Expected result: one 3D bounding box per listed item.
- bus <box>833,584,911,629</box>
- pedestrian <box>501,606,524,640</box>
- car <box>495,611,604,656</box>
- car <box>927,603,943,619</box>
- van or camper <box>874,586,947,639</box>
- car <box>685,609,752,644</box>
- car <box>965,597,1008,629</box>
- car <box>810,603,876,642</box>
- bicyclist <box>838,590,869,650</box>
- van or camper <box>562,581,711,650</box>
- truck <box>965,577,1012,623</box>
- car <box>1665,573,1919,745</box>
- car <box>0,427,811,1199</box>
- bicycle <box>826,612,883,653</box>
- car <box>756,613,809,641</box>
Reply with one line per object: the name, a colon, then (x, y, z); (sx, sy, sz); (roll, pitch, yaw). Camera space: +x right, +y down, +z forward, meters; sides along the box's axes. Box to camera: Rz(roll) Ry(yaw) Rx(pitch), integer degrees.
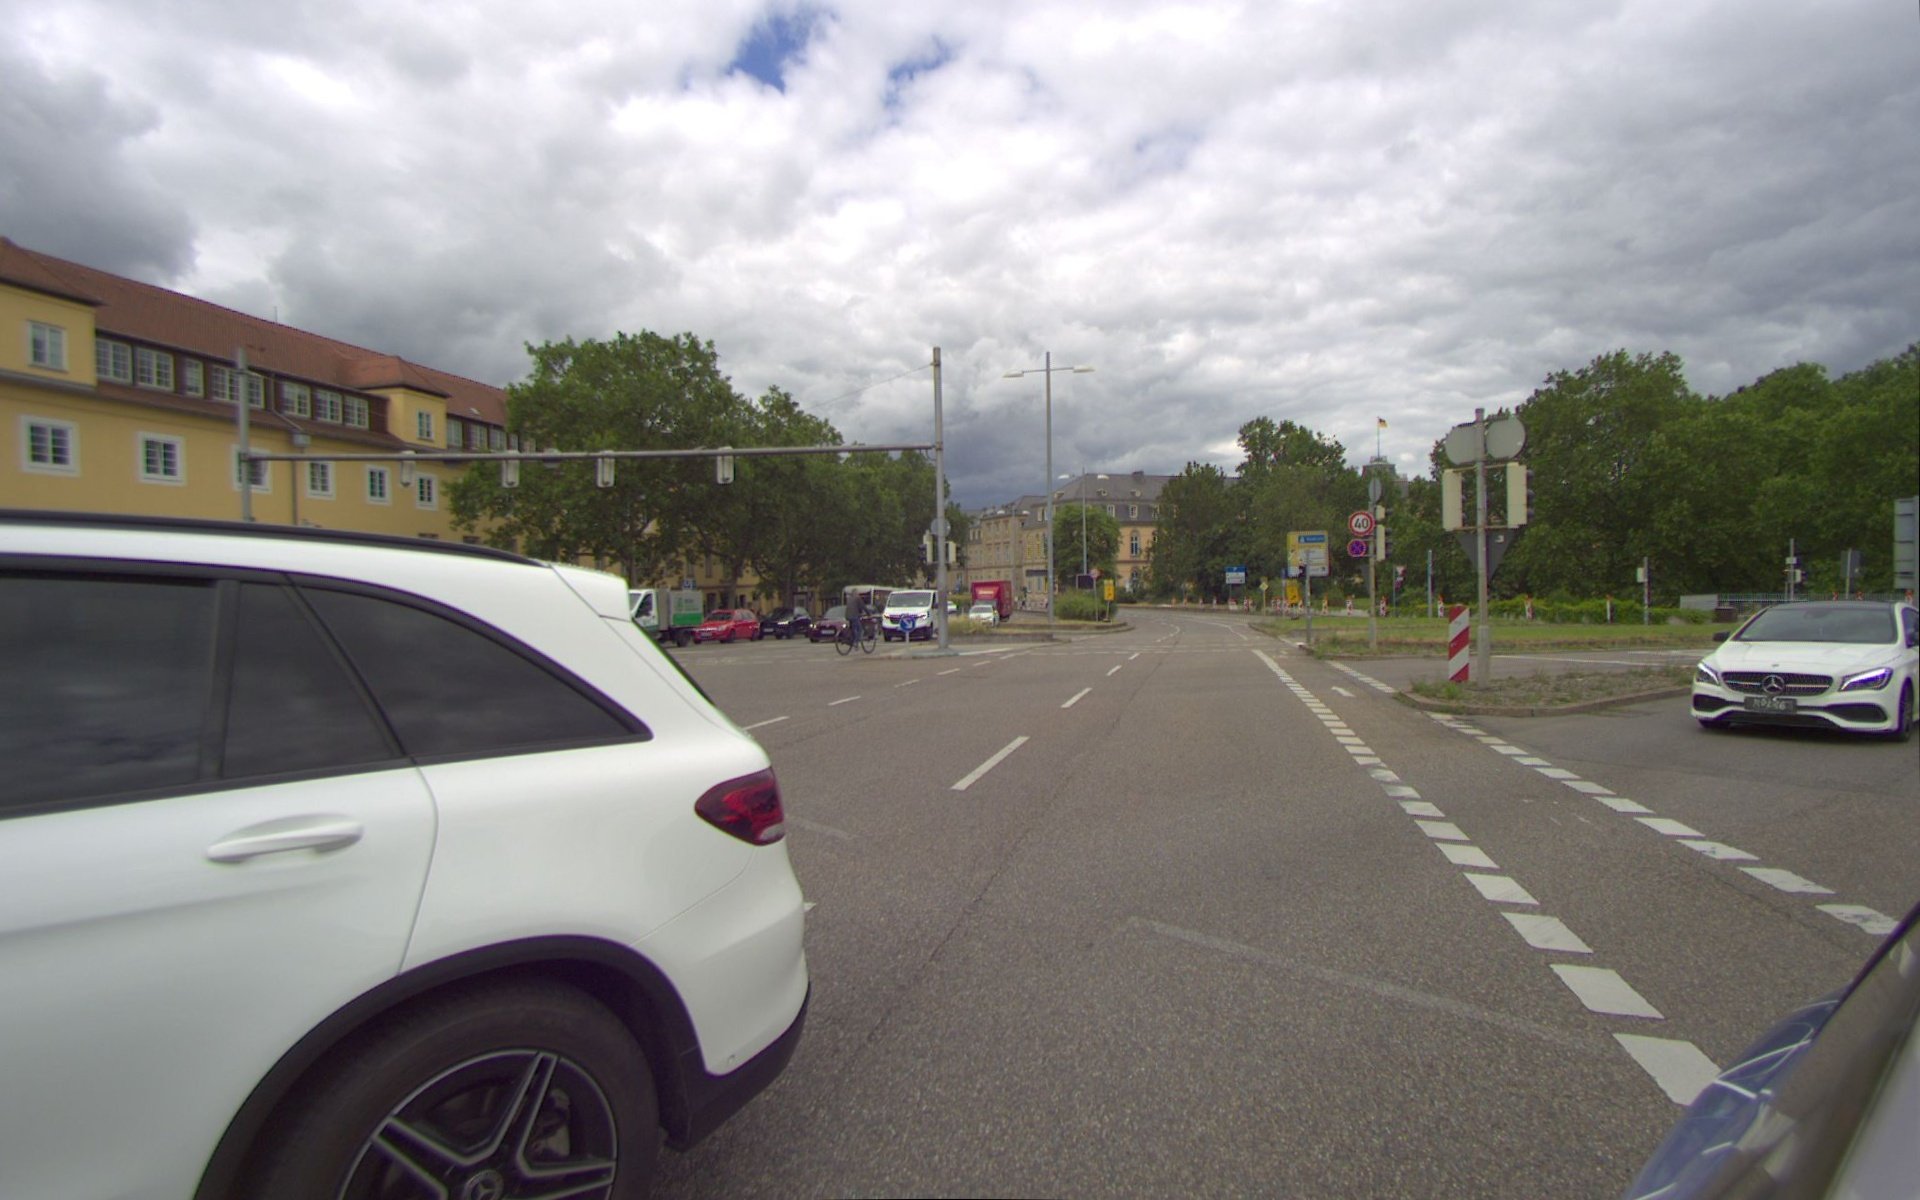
bus: (-6.799, 0.464, 80.946); (3.377, 3.244, 13.034); (-1, 0, 8)
pedestrian: (-18.392, 0.944, 41.593); (0.670, 1.397, 0.577); (-1, -1, 8)
car: (-14.600, 1.148, 36.237); (1.799, 1.426, 3.989); (-1, 0, 10)
car: (-3.309, 1.468, 133.794); (1.962, 2.039, 3.999); (-1, 0, 0)
van or camper: (-1.834, 0.460, 39.285); (1.836, 1.941, 4.700); (-1, 0, 10)
car: (-10.226, 1.095, 43.077); (1.589, 1.372, 3.476); (-1, 0, 9)
car: (1.581, 0.742, 59.179); (1.968, 1.776, 3.949); (-1, 0, 10)
car: (-4.591, 0.861, 40.141); (1.711, 1.418, 3.703); (-1, 0, 8)
bicyclist: (-2.954, 0.544, 28.057); (0.503, 1.661, 0.711); (-1, -1, 40)
van or camper: (-11.555, 0.528, 36.783); (2.339, 2.291, 6.263); (-1, 0, 12)
truck: (2.410, -0.012, 82.692); (2.746, 3.534, 8.327); (-1, 0, 9)
car: (9.983, 0.527, 11.485); (4.565, 1.589, 1.871); (-1, 0, -36)
car: (-2.528, 0.600, 1.593); (4.259, 1.667, 1.804); (-1, 0, -41)
bicycle: (-2.913, 0.890, 28.097); (0.503, 1.086, 1.704); (-1, 0, 40)
car: (-8.826, 1.332, 50.475); (1.597, 1.251, 3.228); (-1, 0, 11)
